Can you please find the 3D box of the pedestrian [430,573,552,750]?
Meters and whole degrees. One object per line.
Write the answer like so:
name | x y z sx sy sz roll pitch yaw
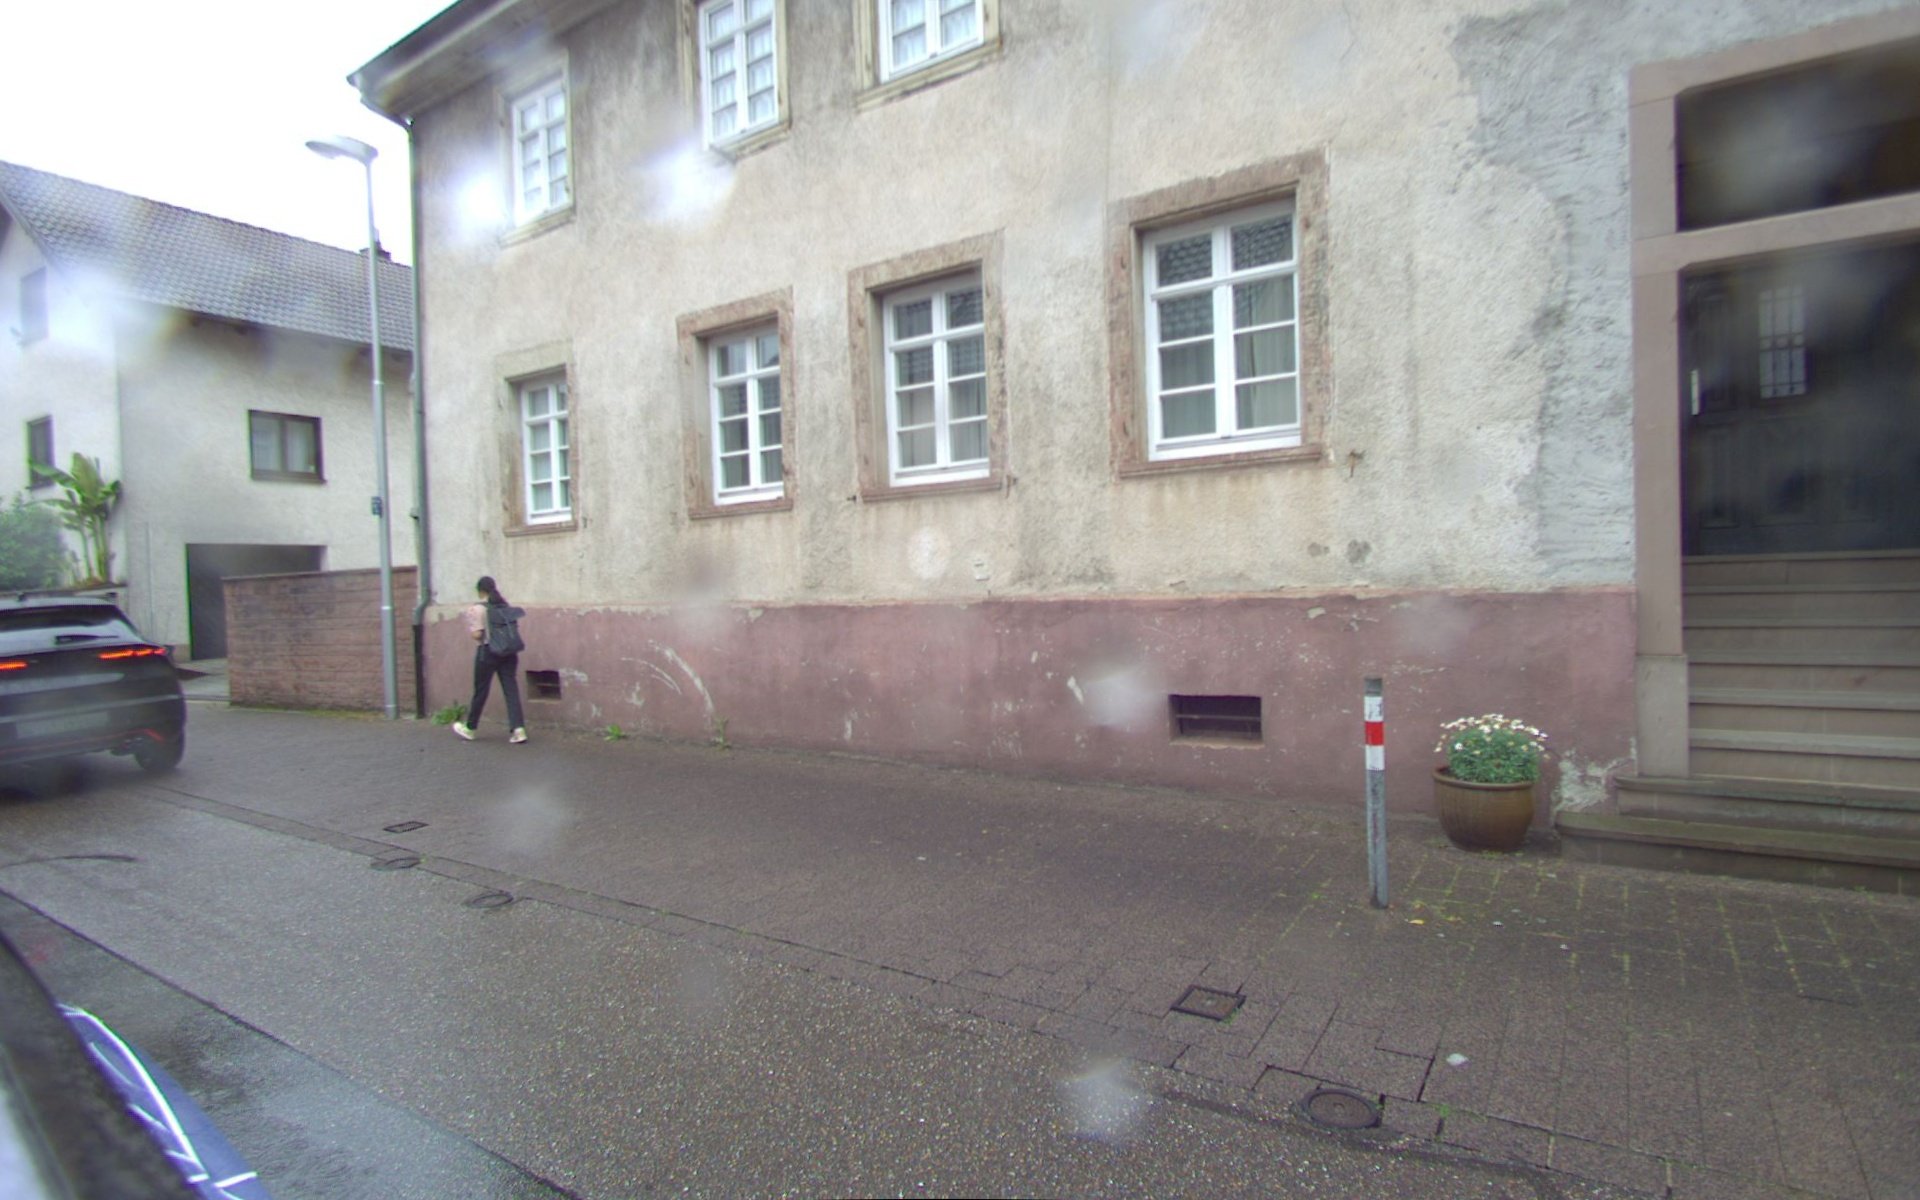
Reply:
pedestrian | -4.336 0.544 9.358 0.829 1.549 0.568 -1 3 29

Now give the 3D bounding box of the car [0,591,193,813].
car | -8.352 0.779 8.630 3.781 1.522 1.610 -1 4 33
